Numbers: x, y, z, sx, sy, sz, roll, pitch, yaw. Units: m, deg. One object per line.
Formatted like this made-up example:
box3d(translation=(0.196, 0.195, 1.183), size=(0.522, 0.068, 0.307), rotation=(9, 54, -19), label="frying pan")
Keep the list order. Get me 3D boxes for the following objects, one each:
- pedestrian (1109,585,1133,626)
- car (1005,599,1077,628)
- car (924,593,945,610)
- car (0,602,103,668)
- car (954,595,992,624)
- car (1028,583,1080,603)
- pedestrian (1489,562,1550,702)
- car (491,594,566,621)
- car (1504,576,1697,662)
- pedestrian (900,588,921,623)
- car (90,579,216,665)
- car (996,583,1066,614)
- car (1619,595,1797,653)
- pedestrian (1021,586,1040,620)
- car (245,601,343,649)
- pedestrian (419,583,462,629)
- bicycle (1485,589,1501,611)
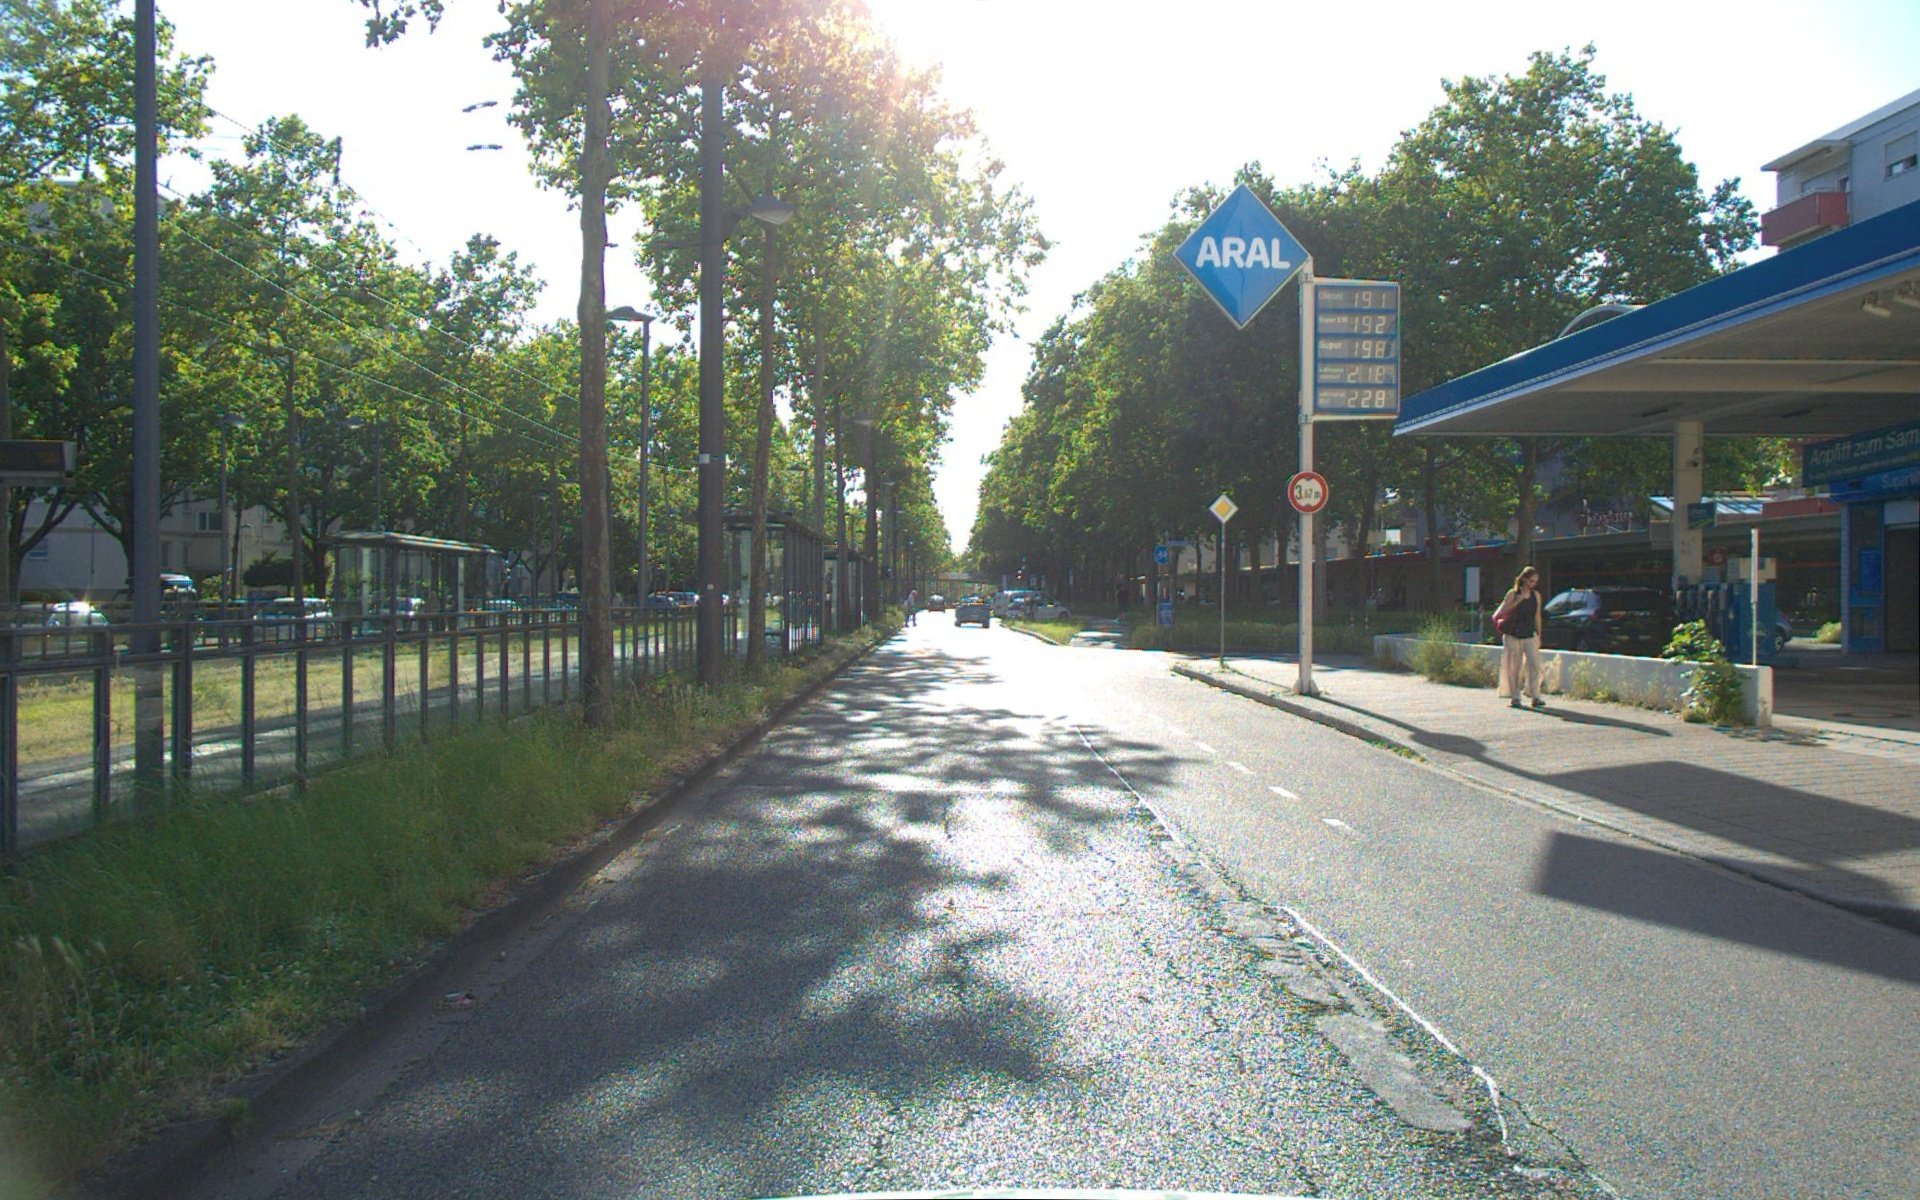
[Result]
box3d(translation=(7.573, 0.239, 77.832), size=(0.910, 1.918, 0.797), rotation=(0, 0, -15), label="pedestrian")
box3d(translation=(4.776, 0.764, 97.278), size=(3.948, 1.495, 1.741), rotation=(-3, 1, -33), label="car")
box3d(translation=(-2.336, 0.121, 151.328), size=(1.811, 1.562, 3.866), rotation=(0, 0, 0), label="car")
box3d(translation=(-22.899, 0.829, 40.737), size=(1.561, 1.514, 4.019), rotation=(0, 0, -1), label="car")
box3d(translation=(0.678, 0.487, 88.649), size=(1.883, 1.436, 3.999), rotation=(1, 0, -1), label="car")
box3d(translation=(7.303, -0.531, 128.854), size=(4.154, 1.437, 1.692), rotation=(-1, 0, -45), label="car")
box3d(translation=(7.001, 0.394, 20.709), size=(0.591, 1.731, 0.553), rotation=(0, 0, 3), label="pedestrian")
box3d(translation=(-24.467, 0.422, 93.883), size=(1.806, 1.460, 3.806), rotation=(0, 1, 39), label="car")
box3d(translation=(11.812, 0.318, 30.798), size=(1.687, 1.489, 3.999), rotation=(0, 0, -7), label="car")
box3d(translation=(-2.481, 0.273, 82.916), size=(0.824, 1.752, 0.831), rotation=(0, 0, 14), label="pedestrian")
box3d(translation=(-22.757, 0.579, 46.795), size=(1.679, 2.301, 3.932), rotation=(0, 0, -1), label="car")
box3d(translation=(4.642, -0.099, 107.627), size=(4.629, 1.885, 1.803), rotation=(-1, 0, -41), label="car")
box3d(translation=(20.821, 0.656, 46.155), size=(4.106, 1.558, 1.982), rotation=(0, 0, -3), label="car")
box3d(translation=(3.673, 0.132, 85.854), size=(0.704, 1.736, 0.646), rotation=(-1, 0, -35), label="pedestrian")
box3d(translation=(-22.923, 0.830, 57.091), size=(1.678, 1.573, 3.934), rotation=(0, 0, 2), label="car")
box3d(translation=(-14.794, 0.176, 47.101), size=(0.821, 1.283, 0.798), rotation=(1, 0, 28), label="pedestrian")
box3d(translation=(28.903, 0.007, 89.670), size=(0.585, 1.200, 1.849), rotation=(1, 0, 26), label="bicycle")
